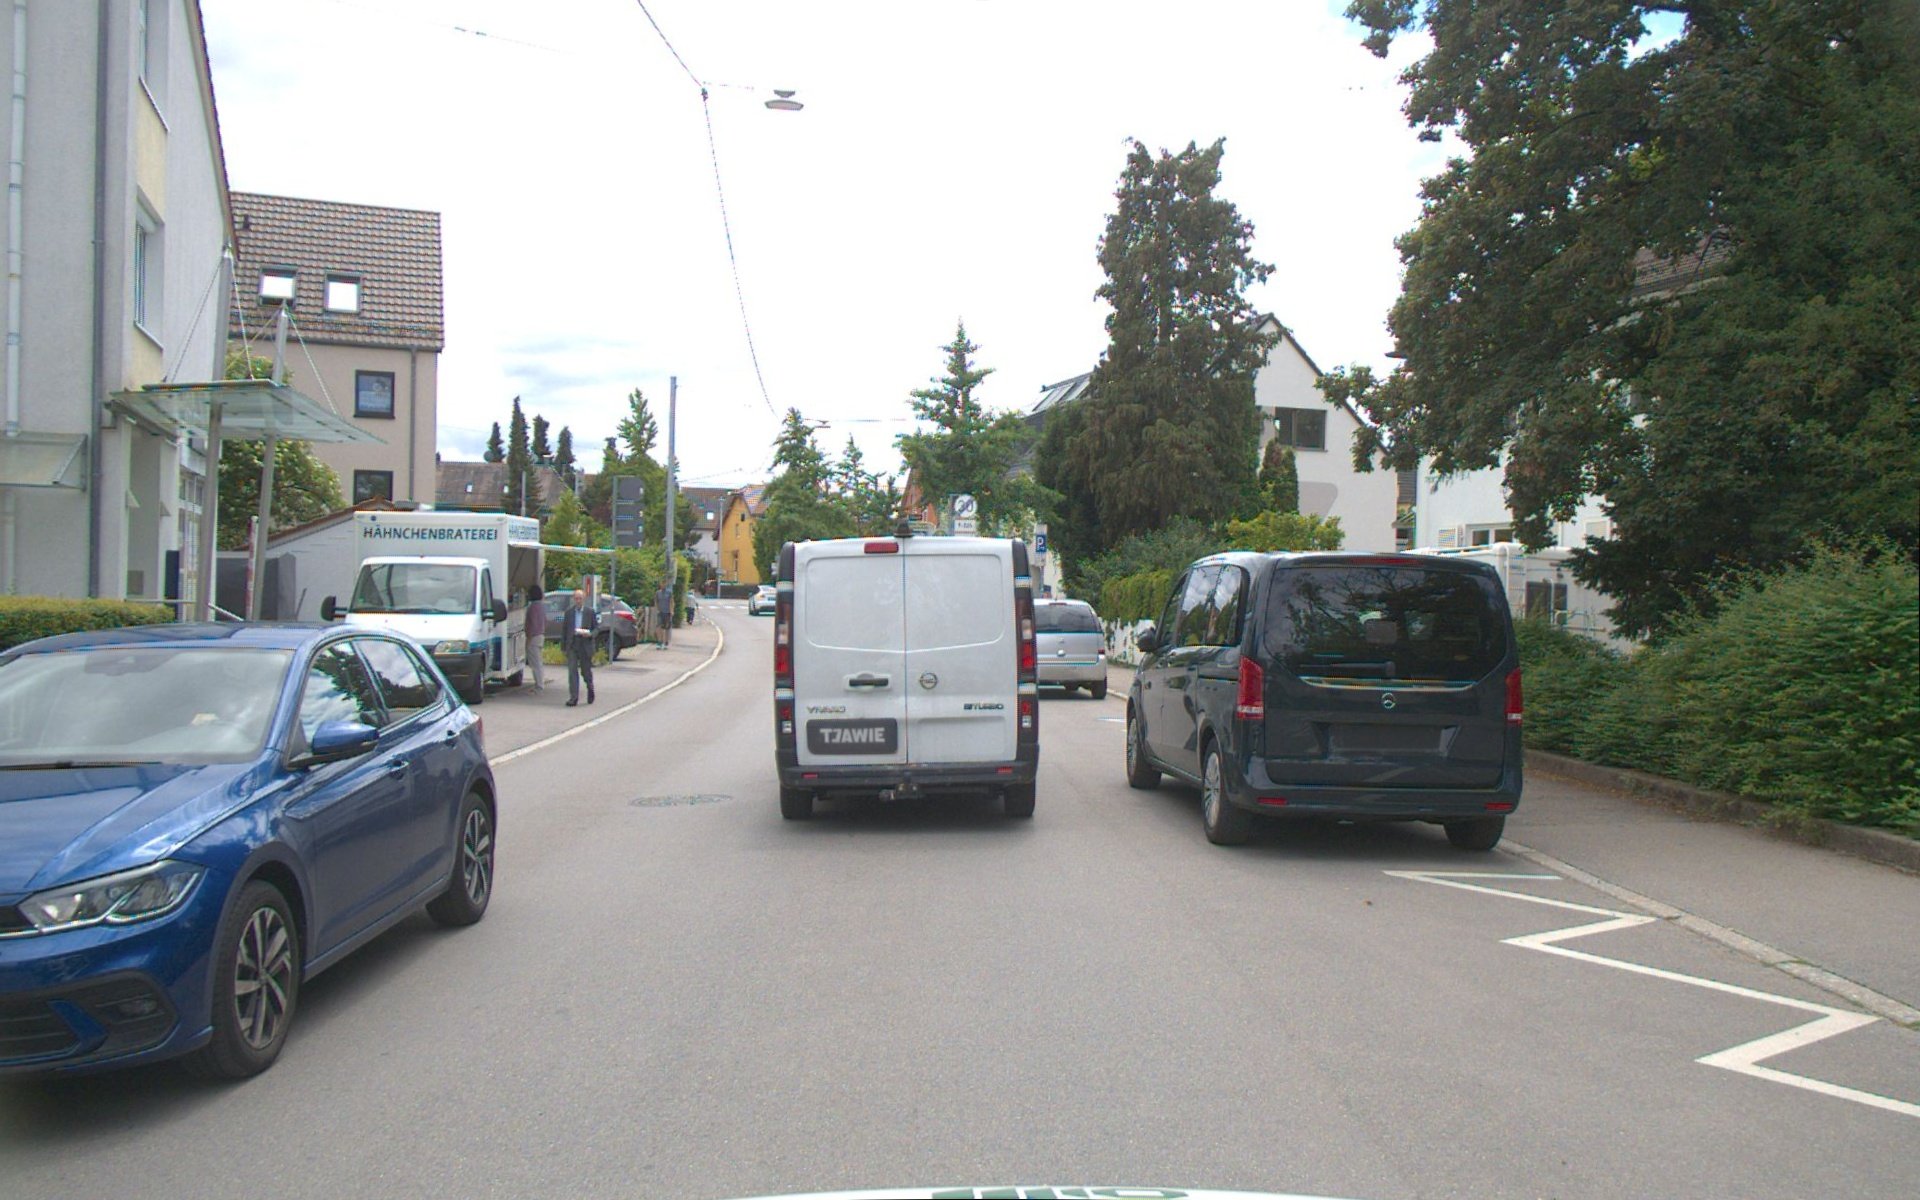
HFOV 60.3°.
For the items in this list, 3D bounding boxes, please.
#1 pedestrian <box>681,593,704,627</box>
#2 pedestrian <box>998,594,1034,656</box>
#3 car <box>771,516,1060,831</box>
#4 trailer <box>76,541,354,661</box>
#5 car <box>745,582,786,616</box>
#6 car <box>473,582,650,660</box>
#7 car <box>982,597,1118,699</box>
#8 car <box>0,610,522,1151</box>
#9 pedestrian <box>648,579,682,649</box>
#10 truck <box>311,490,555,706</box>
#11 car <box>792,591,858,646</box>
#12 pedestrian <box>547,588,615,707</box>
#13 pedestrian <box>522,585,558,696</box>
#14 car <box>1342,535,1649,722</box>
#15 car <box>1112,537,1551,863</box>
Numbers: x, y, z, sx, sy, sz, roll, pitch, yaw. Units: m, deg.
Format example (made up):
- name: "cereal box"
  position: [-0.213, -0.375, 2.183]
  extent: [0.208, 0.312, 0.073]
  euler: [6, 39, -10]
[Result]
- name: "pedestrian"
  position: [-12.151, 0.444, 75.015]
  extent: [0.867, 1.511, 0.451]
  euler: [3, -1, -31]
- name: "pedestrian"
  position: [1.560, 0.693, 46.356]
  extent: [0.837, 1.674, 0.883]
  euler: [3, -1, -5]
- name: "car"
  position: [-0.448, 0.499, 13.009]
  extent: [1.878, 2.038, 4.433]
  euler: [0, -1, -4]
- name: "trailer"
  position: [-15.087, 0.011, 33.720]
  extent: [4.772, 2.116, 1.701]
  euler: [3, 1, -9]
- name: "car"
  position: [-10.749, -0.037, 91.081]
  extent: [1.958, 1.813, 3.989]
  euler: [0, 0, -11]
- name: "car"
  position: [-10.195, 0.539, 42.252]
  extent: [4.244, 1.725, 1.789]
  euler: [3, -1, -18]
- name: "car"
  position: [1.469, 0.775, 28.401]
  extent: [1.725, 1.610, 4.013]
  euler: [-1, 0, -6]
- name: "car"
  position: [-3.033, 0.806, 6.471]
  extent: [1.660, 1.457, 3.925]
  euler: [-2, 0, -2]
- name: "pedestrian"
  position: [-8.597, 0.418, 48.257]
  extent: [0.718, 1.980, 1.217]
  euler: [3, -1, -2]
- name: "truck"
  position: [-7.995, -0.003, 25.909]
  extent: [2.426, 2.890, 6.696]
  euler: [1, 0, -8]
- name: "car"
  position: [-4.872, 0.641, 59.173]
  extent: [1.958, 1.880, 3.989]
  euler: [0, 0, -11]
- name: "pedestrian"
  position: [-5.699, 0.705, 24.913]
  extent: [0.708, 1.716, 1.108]
  euler: [3, -1, -2]
- name: "pedestrian"
  position: [-6.698, 0.644, 26.401]
  extent: [0.393, 1.724, 0.596]
  euler: [3, -1, -8]
- name: "car"
  position: [8.760, 0.440, 27.703]
  extent: [2.455, 2.728, 5.167]
  euler: [3, -1, -14]
- name: "car"
  position: [2.428, 0.610, 12.293]
  extent: [1.871, 1.881, 5.155]
  euler: [1, -1, -3]
